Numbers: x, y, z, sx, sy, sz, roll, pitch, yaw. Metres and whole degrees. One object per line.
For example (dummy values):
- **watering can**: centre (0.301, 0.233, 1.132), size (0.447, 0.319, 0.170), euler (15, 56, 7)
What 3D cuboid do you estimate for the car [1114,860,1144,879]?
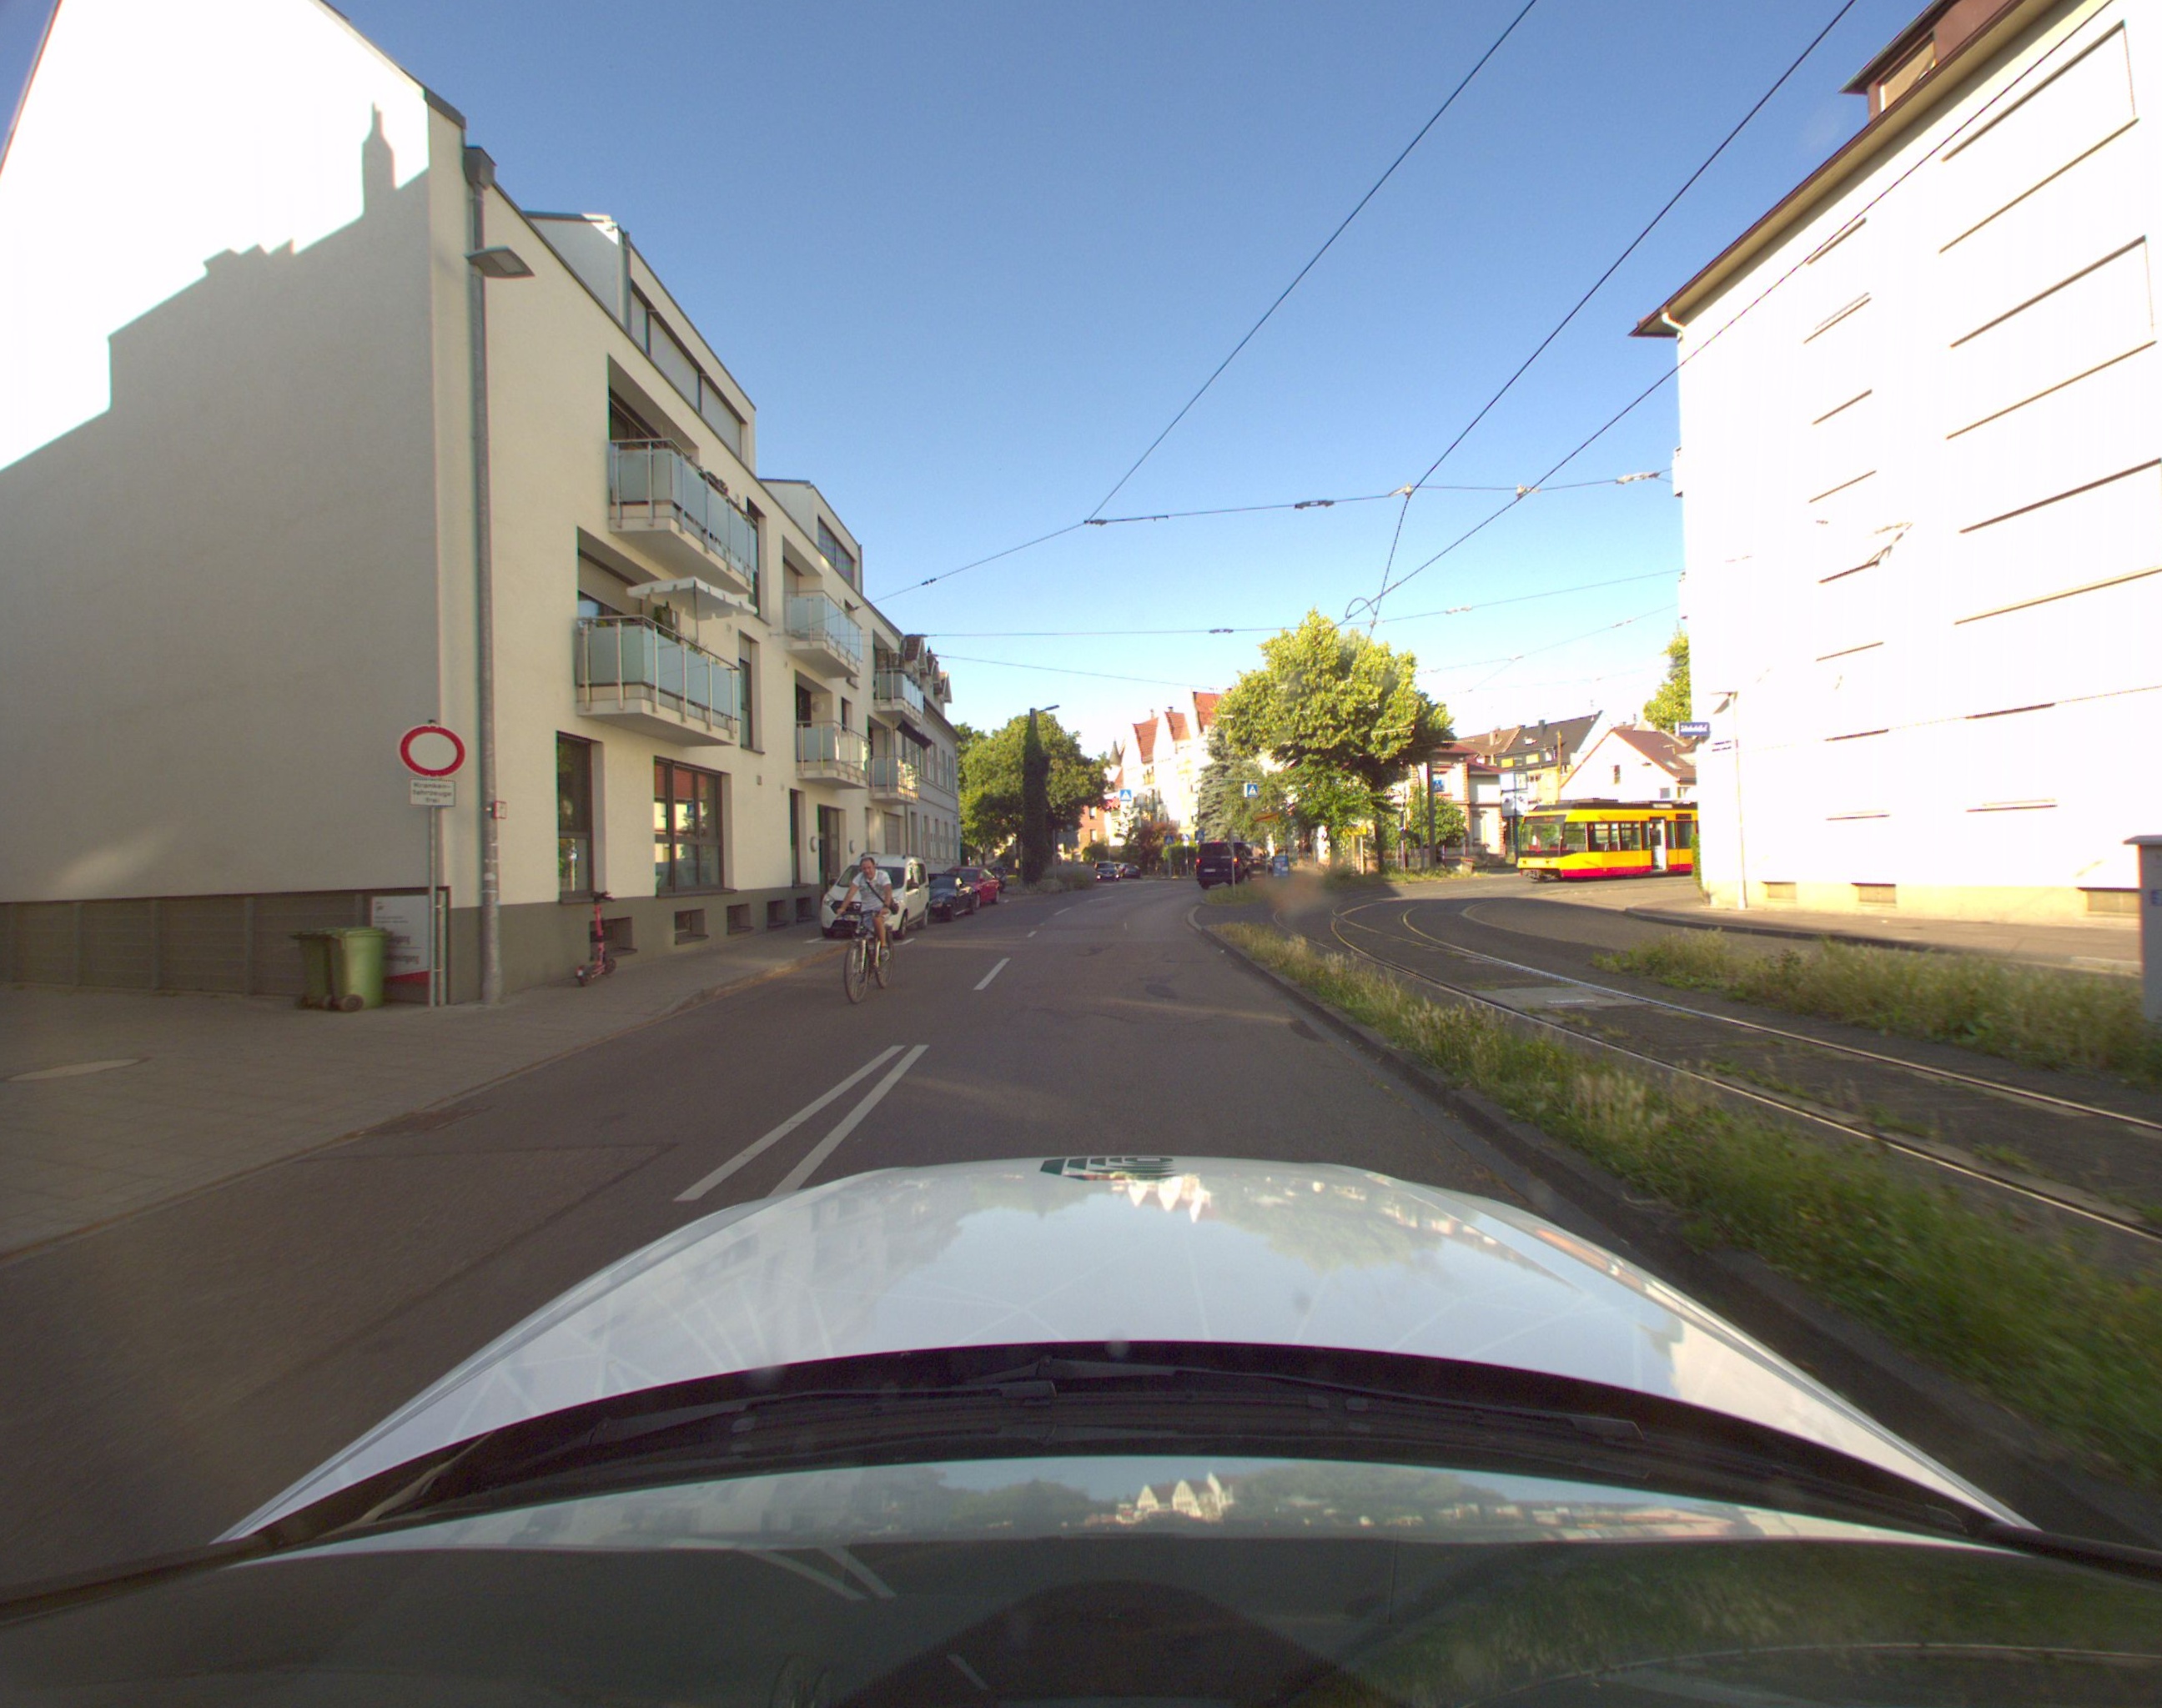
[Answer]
- **car**: centre (4.425, 1.429, 75.964), size (1.993, 1.596, 3.988), euler (-2, -1, -9)

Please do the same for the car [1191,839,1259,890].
- **car**: centre (6.275, 0.403, 35.106), size (1.976, 2.013, 4.022), euler (-2, 0, 23)

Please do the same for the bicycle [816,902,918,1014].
- **bicycle**: centre (-2.487, 1.174, 9.672), size (0.620, 1.081, 1.784), euler (-4, -1, 2)

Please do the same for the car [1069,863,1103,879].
- **car**: centre (0.497, 1.904, 91.340), size (2.347, 1.596, 4.898), euler (-2, -1, -19)

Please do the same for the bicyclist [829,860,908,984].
- **bicyclist**: centre (-2.513, 0.781, 9.688), size (0.620, 1.380, 0.801), euler (-4, -1, 2)

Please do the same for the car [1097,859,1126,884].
- **car**: centre (2.123, 1.228, 58.304), size (1.708, 1.402, 3.736), euler (-4, 4, -3)

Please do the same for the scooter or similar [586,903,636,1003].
- **scooter or similar**: centre (-6.441, 1.323, 11.192), size (0.225, 1.220, 1.150), euler (-2, 0, -13)

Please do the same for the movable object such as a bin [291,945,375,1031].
- **movable object such as a bin**: centre (-8.723, 1.544, 9.503), size (0.543, 0.901, 0.533), euler (-3, -1, 24)

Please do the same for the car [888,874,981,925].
- **car**: centre (-4.137, 1.248, 23.586), size (1.657, 1.273, 4.030), euler (-1, -1, 4)

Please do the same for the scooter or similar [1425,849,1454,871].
- **scooter or similar**: centre (19.927, 0.357, 45.303), size (1.390, 1.136, 0.689), euler (-3, 0, 21)

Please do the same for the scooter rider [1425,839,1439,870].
- **scooter rider**: centre (19.571, 0.003, 45.454), size (0.601, 1.672, 0.658), euler (-4, -1, 21)

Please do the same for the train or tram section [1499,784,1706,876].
- **train or tram section**: centre (22.864, -1.094, 35.516), size (9.941, 3.555, 2.760), euler (-3, -1, -27)

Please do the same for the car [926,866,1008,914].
- **car**: centre (-4.048, 1.239, 29.698), size (1.699, 1.466, 4.603), euler (-1, 0, 9)

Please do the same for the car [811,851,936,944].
- **car**: centre (-4.603, 0.912, 18.704), size (1.806, 1.869, 4.330), euler (-1, -1, -1)

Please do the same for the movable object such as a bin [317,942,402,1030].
- **movable object such as a bin**: centre (-8.211, 1.485, 9.270), size (0.543, 0.901, 0.533), euler (-3, -1, 24)

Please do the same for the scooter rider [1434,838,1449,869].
- **scooter rider**: centre (20.037, -0.020, 45.266), size (0.601, 1.672, 0.658), euler (-4, -1, 21)

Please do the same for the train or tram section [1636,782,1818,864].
- **train or tram section**: centre (31.764, -1.557, 39.910), size (9.937, 3.555, 2.761), euler (-3, -1, -25)

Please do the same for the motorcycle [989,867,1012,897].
- **motorcycle**: centre (-3.862, 1.314, 38.907), size (0.931, 1.357, 2.556), euler (-2, -1, -9)
